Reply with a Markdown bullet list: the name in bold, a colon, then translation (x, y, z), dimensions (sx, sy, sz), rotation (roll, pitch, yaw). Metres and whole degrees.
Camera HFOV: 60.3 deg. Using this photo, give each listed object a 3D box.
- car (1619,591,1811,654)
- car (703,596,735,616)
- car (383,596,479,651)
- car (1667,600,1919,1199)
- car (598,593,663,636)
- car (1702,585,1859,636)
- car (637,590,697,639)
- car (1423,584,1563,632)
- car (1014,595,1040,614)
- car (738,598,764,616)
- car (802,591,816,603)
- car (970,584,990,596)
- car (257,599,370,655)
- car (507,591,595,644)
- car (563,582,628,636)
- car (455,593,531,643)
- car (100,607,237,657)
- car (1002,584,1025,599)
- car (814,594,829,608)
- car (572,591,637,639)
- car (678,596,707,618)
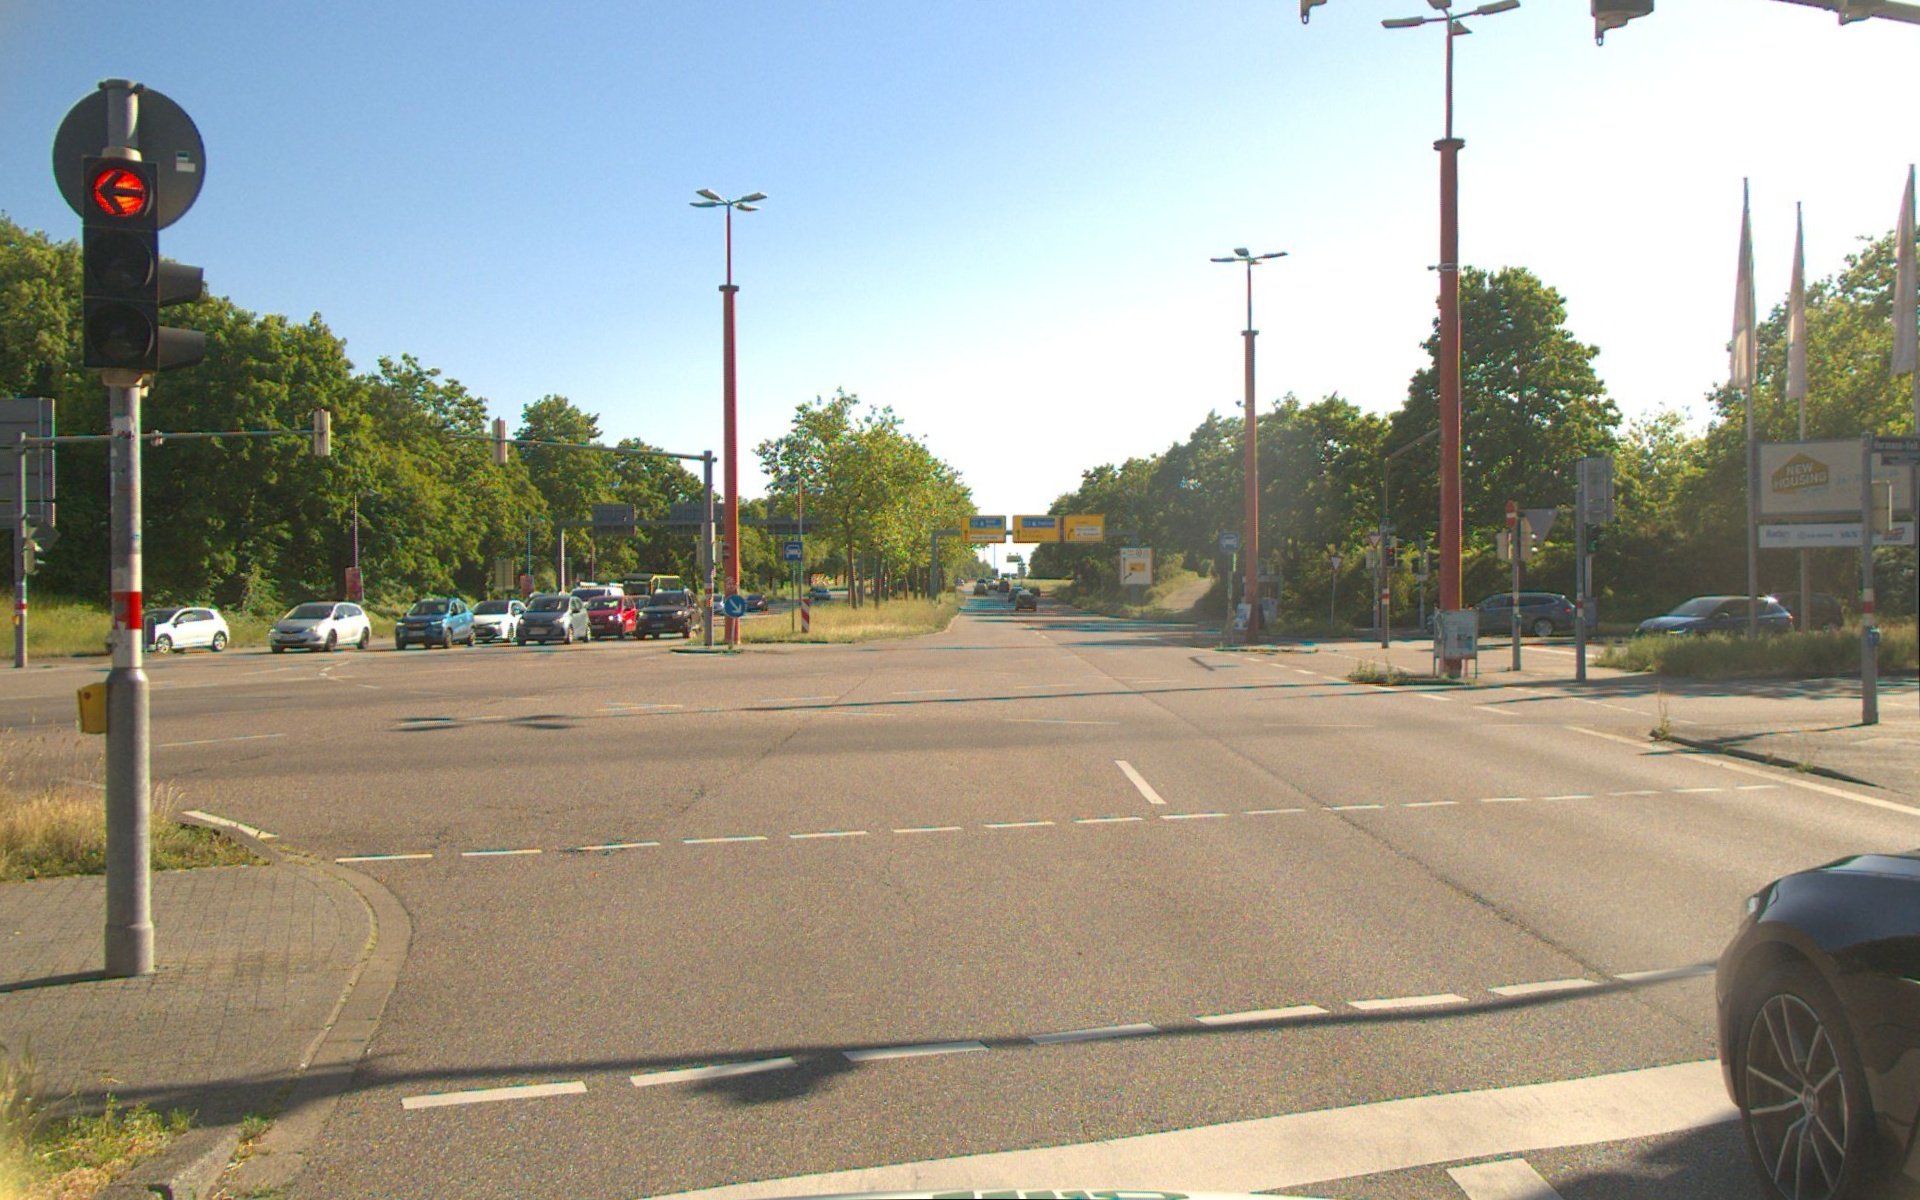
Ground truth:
- **car**: translation (18.638, 0.531, 40.860), dimensions (4.201, 1.453, 1.874), rotation (0, 0, -19)
- **car**: translation (-17.877, 0.421, 122.708), dimensions (1.846, 1.480, 3.656), rotation (0, 0, 0)
- **car**: translation (-16.208, 0.682, 50.893), dimensions (1.955, 1.601, 4.116), rotation (0, 0, -5)
- **car**: translation (2.970, 0.714, 2.362), dimensions (1.953, 1.419, 4.476), rotation (0, 0, -1)
- **car**: translation (-12.711, 0.528, 64.049), dimensions (1.954, 1.601, 4.117), rotation (0, 0, -4)
- **car**: translation (27.195, 0.333, 54.906), dimensions (4.185, 1.601, 2.163), rotation (0, 0, -7)
- **car**: translation (-9.874, 0.472, 55.993), dimensions (1.841, 1.601, 4.113), rotation (0, 0, -8)
- **car**: translation (18.237, 0.270, 56.648), dimensions (4.472, 1.601, 2.167), rotation (0, 0, 19)
- **car**: translation (5.663, 0.368, 140.444), dimensions (2.114, 1.601, 4.281), rotation (0, 0, 1)
- **car**: translation (-17.907, 0.614, 141.536), dimensions (1.784, 1.480, 3.656), rotation (0, 0, 0)
- **car**: translation (-20.405, -0.386, 223.645), dimensions (1.840, 1.601, 4.116), rotation (0, 0, -5)
- **car**: translation (2.708, -1.316, 226.248), dimensions (2.202, 1.601, 4.276), rotation (0, 0, -5)
- **car**: translation (-19.586, 0.785, 50.300), dimensions (1.954, 1.601, 4.118), rotation (0, 0, -3)
- **car**: translation (-12.805, 0.522, 51.967), dimensions (1.954, 1.601, 4.118), rotation (0, 0, -4)
- **car**: translation (-15.671, 0.386, 71.267), dimensions (2.021, 2.231, 4.376), rotation (0, 0, -3)
- **car**: translation (-15.990, 0.597, 56.786), dimensions (1.956, 1.601, 4.113), rotation (-1, 0, -8)
- **car**: translation (-25.095, 0.999, 52.600), dimensions (1.755, 1.478, 4.225), rotation (0, 0, 11)
- **car**: translation (5.990, -0.933, 184.382), dimensions (2.116, 1.601, 4.277), rotation (0, 0, -4)
- **car**: translation (-17.191, 0.117, 204.660), dimensions (1.840, 1.601, 3.943), rotation (0, 0, -5)
- **car**: translation (-12.479, 0.507, 58.273), dimensions (1.956, 1.601, 4.113), rotation (0, 0, -8)
- **car**: translation (-20.217, 0.528, 124.950), dimensions (1.840, 1.601, 4.116), rotation (0, 0, -5)
